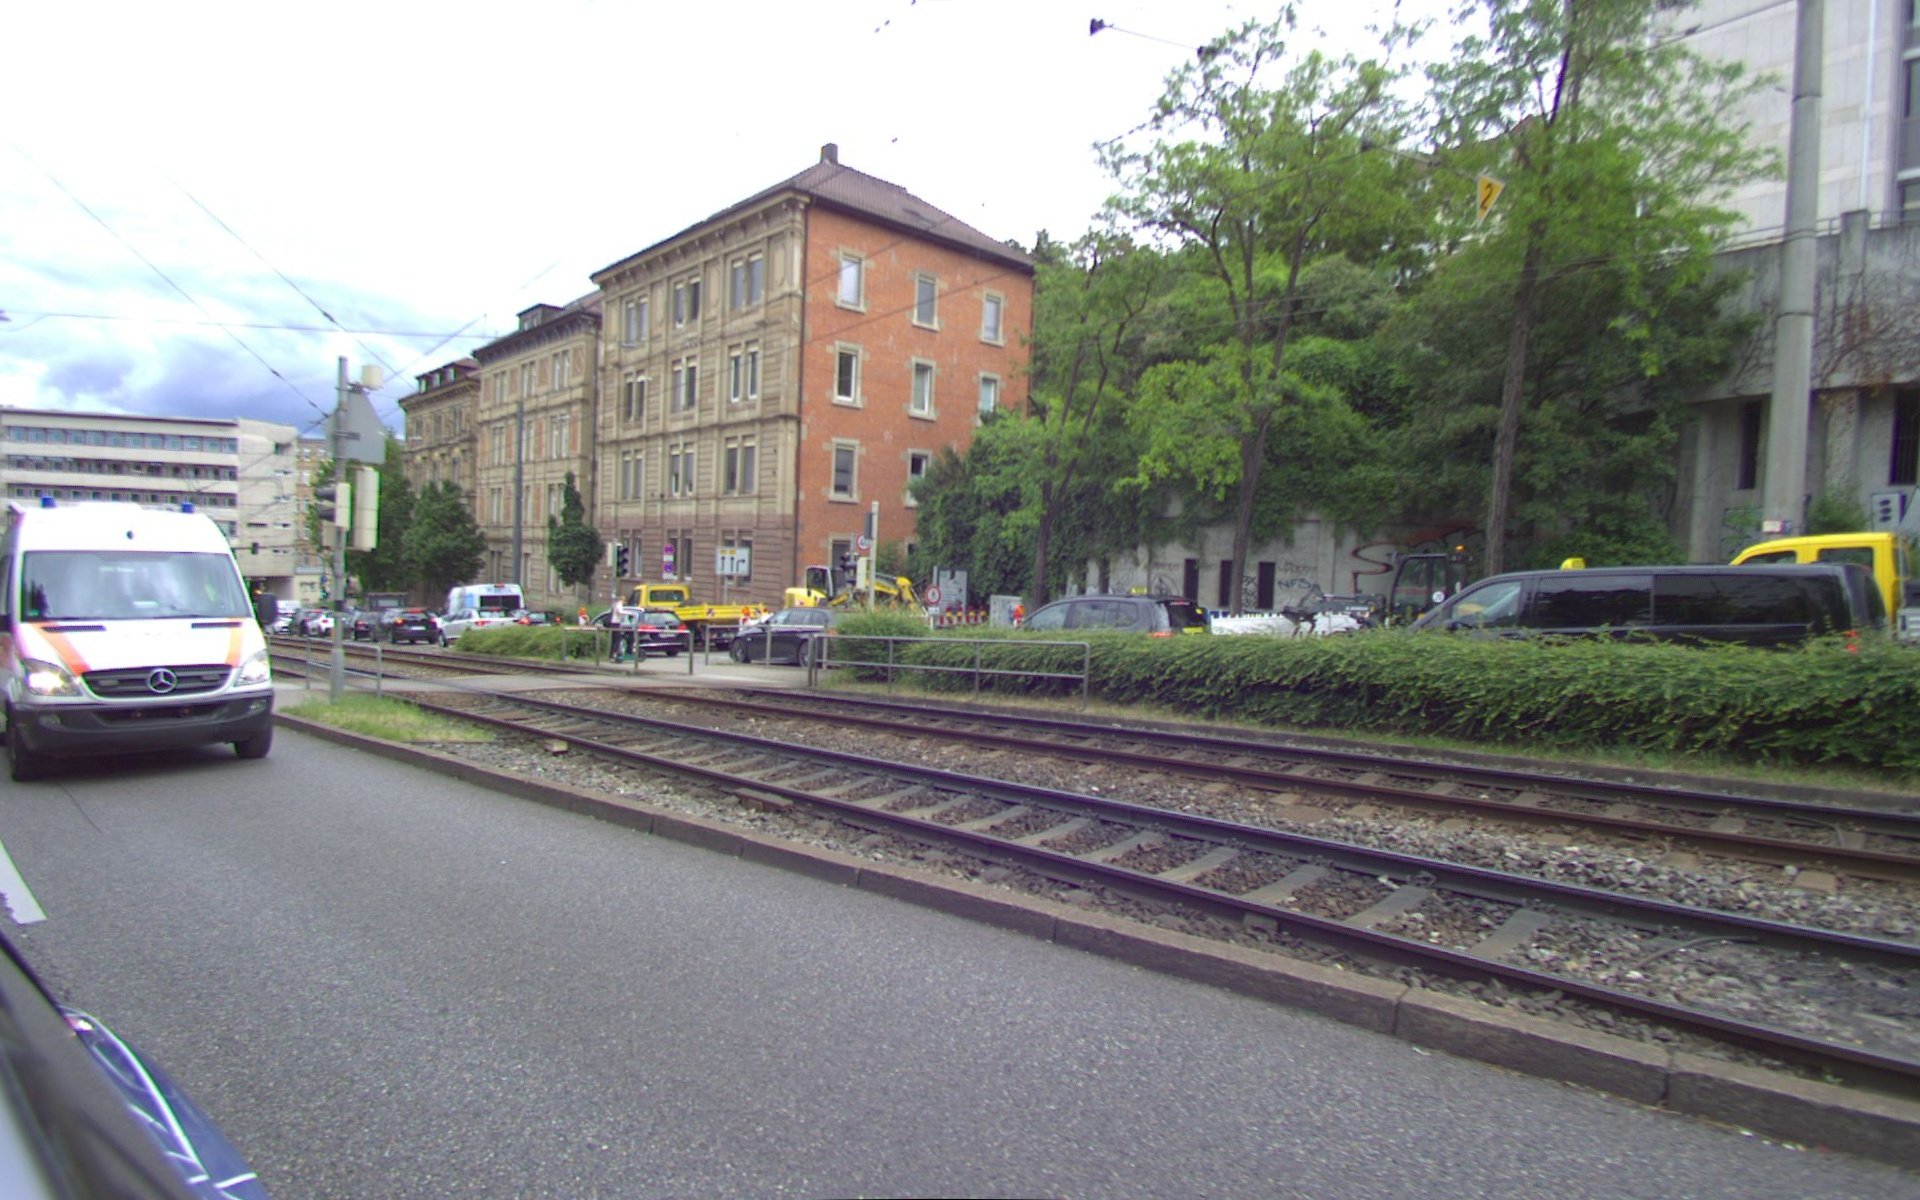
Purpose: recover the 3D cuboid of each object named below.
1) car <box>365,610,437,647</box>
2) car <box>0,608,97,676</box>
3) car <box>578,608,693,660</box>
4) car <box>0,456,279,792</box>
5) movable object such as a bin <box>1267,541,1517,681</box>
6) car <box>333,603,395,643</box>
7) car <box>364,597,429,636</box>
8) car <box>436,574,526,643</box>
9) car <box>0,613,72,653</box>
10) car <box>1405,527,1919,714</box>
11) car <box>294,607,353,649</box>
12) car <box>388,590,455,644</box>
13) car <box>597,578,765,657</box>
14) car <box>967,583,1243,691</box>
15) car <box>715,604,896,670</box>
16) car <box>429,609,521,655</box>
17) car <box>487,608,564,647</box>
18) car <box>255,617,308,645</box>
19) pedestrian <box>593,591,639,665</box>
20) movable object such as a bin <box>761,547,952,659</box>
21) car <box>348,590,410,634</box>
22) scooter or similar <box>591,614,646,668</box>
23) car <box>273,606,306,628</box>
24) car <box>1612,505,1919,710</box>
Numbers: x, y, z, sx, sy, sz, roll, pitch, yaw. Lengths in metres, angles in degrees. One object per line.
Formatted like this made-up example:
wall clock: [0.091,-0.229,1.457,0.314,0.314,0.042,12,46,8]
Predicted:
car: [-23.834,1.191,43.113,1.844,1.531,3.955,1,-2,-42]
car: [-23.860,1.052,26.443,1.902,1.584,4.186,-2,0,-41]
car: [-9.815,0.990,30.464,1.758,1.473,4.003,1,-2,-44]
car: [-9.192,0.237,10.924,2.010,2.720,5.857,0,-1,-45]
movable object such as a bin: [8.496,0.218,20.188,1.909,2.486,4.105,-2,0,-39]
car: [-27.896,1.063,47.318,1.813,1.763,4.006,1,-2,-41]
car: [-29.516,0.884,53.003,2.286,1.954,3.441,1,-2,-41]
car: [-21.055,0.407,44.392,2.183,2.844,4.788,1,-2,-44]
car: [-37.879,1.323,41.431,4.319,1.564,1.971,-1,-2,45]
car: [7.647,0.222,11.178,1.968,1.617,4.619,1,-1,-38]
car: [-32.499,1.389,51.648,1.969,2.060,4.006,1,-2,-41]
car: [-26.017,0.823,48.850,1.969,2.494,4.006,1,-2,-41]
car: [-9.707,0.562,34.749,6.755,2.454,2.413,-1,0,43]
car: [2.355,0.601,17.558,1.968,1.617,4.627,1,-1,-40]
car: [-3.811,0.857,24.349,1.859,1.446,4.849,3,-3,-43]
car: [-17.811,1.144,37.101,3.999,1.579,1.685,-1,-2,42]
car: [-17.385,1.095,40.439,1.626,1.465,3.567,0,-1,-45]
car: [-41.355,1.862,61.651,1.970,1.630,4.002,0,-1,-45]
pedestrian: [-8.633,0.702,25.413,0.788,1.831,0.735,-1,-2,24]
movable object such as a bin: [-3.682,0.154,35.195,6.537,3.575,2.721,-1,-2,36]
car: [-32.008,0.661,55.711,2.209,2.305,4.006,1,-2,-41]
scooter or similar: [-8.443,0.998,25.089,0.528,1.306,1.490,0,-1,16]
car: [-57.507,1.438,86.791,1.676,1.824,4.004,0,-1,-43]
car: [12.865,0.114,13.782,2.129,2.613,6.347,1,-1,-39]
